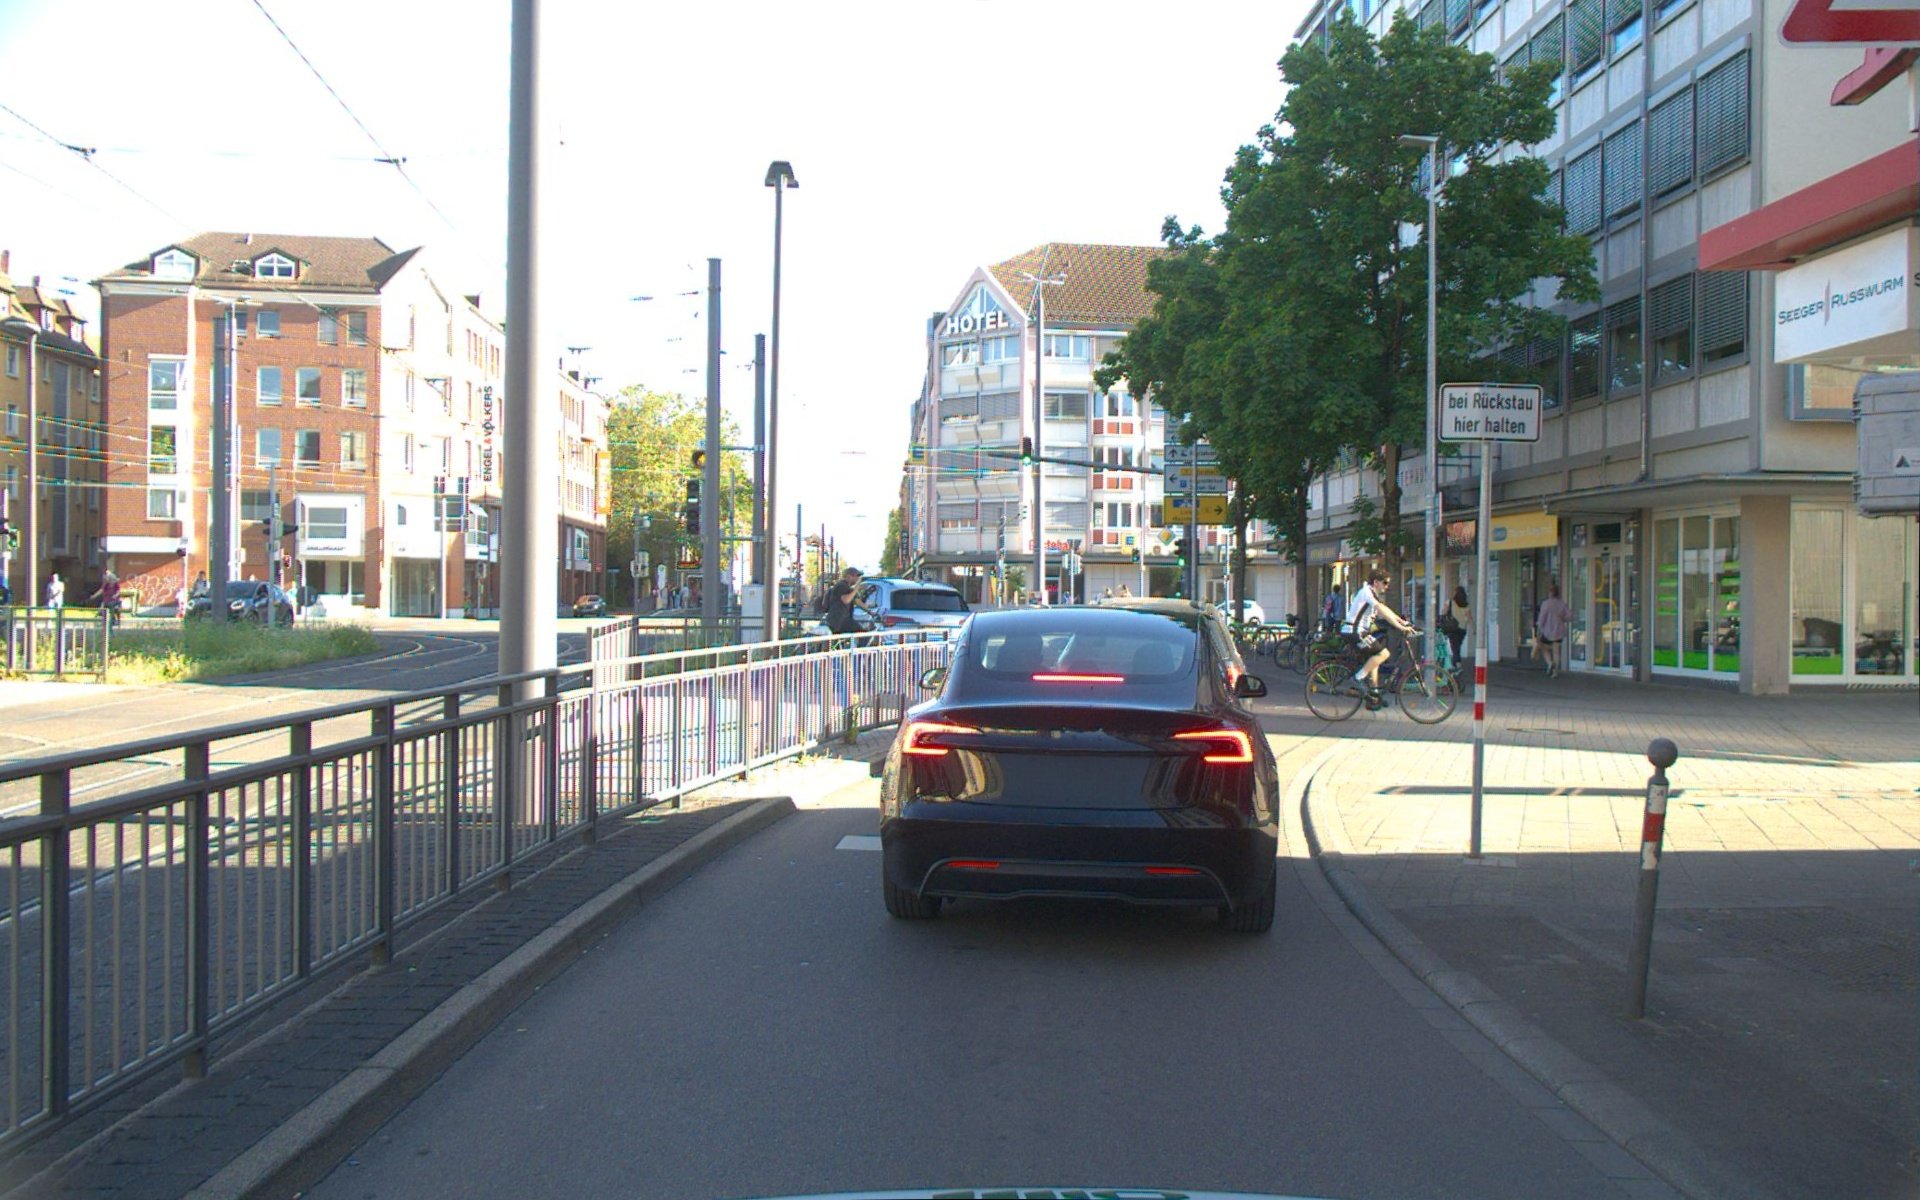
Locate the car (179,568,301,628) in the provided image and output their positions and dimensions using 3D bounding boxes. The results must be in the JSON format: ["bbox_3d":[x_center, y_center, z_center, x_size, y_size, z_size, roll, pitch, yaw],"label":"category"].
[{"bbox_3d":[-20.218,-0.036,46.597,1.650,1.588,4.121,1,0,-1],"label":"car"}]

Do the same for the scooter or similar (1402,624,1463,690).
[{"bbox_3d":[7.716,0.926,26.998,0.943,1.061,0.160,0,0,2],"label":"scooter or similar"}]

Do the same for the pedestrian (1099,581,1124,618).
[{"bbox_3d":[6.609,-0.033,72.225,0.766,1.604,0.864,1,1,-16],"label":"pedestrian"}]

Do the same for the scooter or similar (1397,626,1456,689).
[{"bbox_3d":[7.726,0.950,27.397,0.943,1.045,0.160,0,0,2],"label":"scooter or similar"}]

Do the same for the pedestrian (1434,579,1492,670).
[{"bbox_3d":[9.774,0.470,32.160,0.826,1.737,0.880,1,-1,-1],"label":"pedestrian"}]

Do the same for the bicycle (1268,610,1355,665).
[{"bbox_3d":[7.528,0.792,35.406,1.774,1.172,0.435,0,0,-5],"label":"bicycle"}]

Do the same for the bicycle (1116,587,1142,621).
[{"bbox_3d":[7.398,0.161,72.449,0.573,1.489,1.679,0,0,-16],"label":"bicycle"}]

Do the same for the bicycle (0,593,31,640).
[{"bbox_3d":[-21.389,0.361,36.614,0.519,1.031,1.897,1,0,1],"label":"bicycle"}]

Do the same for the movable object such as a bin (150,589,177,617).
[{"bbox_3d":[-41.501,0.154,86.185,0.978,1.462,1.093,1,0,-10],"label":"movable object such as a bin"}]

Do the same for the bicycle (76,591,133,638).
[{"bbox_3d":[-23.021,0.396,44.540,0.519,1.235,1.885,1,0,1],"label":"bicycle"}]

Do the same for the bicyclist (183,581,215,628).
[{"bbox_3d":[-24.217,0.144,52.665,0.650,1.479,0.730,1,-1,0],"label":"bicyclist"}]

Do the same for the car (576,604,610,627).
[{"bbox_3d":[-24.800,1.057,111.883,1.782,1.479,3.972,-1,0,-7],"label":"car"}]

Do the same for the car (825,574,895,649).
[{"bbox_3d":[-2.326,0.273,38.810,1.541,1.646,3.781,1,0,-3],"label":"car"}]

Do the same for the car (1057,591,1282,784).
[{"bbox_3d":[1.794,0.672,15.206,1.727,1.469,4.531,1,0,4],"label":"car"}]

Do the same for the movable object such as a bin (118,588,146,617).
[{"bbox_3d":[-42.964,0.125,85.840,0.978,1.462,1.093,1,0,-10],"label":"movable object such as a bin"}]

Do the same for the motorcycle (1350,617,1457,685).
[{"bbox_3d":[7.838,0.898,29.281,1.751,1.149,0.504,1,-1,-3],"label":"motorcycle"}]

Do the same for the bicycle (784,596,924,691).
[{"bbox_3d":[-1.417,0.584,22.263,1.802,1.233,0.635,1,-1,-32],"label":"bicycle"}]

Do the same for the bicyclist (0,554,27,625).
[{"bbox_3d":[-23.240,-0.253,40.338,0.510,1.702,0.770,1,-1,0],"label":"bicyclist"}]

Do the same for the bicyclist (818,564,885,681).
[{"bbox_3d":[-1.462,0.302,22.236,0.674,1.550,0.628,1,-1,-32],"label":"bicyclist"}]

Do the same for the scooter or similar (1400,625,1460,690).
[{"bbox_3d":[7.721,0.939,27.196,0.936,1.057,0.160,0,0,2],"label":"scooter or similar"}]

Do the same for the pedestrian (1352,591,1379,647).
[{"bbox_3d":[10.655,0.502,43.507,0.631,1.447,0.621,1,-1,10],"label":"pedestrian"}]

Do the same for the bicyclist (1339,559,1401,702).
[{"bbox_3d":[4.867,0.357,19.631,0.666,1.659,0.579,1,-1,16],"label":"bicyclist"}]

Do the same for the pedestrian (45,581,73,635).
[{"bbox_3d":[-29.541,0.255,54.230,0.613,1.717,0.703,1,1,-13],"label":"pedestrian"}]

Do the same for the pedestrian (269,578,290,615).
[{"bbox_3d":[-32.427,-0.170,78.814,0.682,1.740,0.929,1,-1,-7],"label":"pedestrian"}]

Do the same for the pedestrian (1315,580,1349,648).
[{"bbox_3d":[9.851,0.366,43.801,0.825,1.751,0.881,1,-1,11],"label":"pedestrian"}]

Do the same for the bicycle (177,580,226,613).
[{"bbox_3d":[-24.199,-0.112,52.797,0.636,1.031,1.885,1,0,1],"label":"bicycle"}]

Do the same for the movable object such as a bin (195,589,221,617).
[{"bbox_3d":[-39.261,0.163,86.387,0.978,1.462,1.093,1,0,-10],"label":"movable object such as a bin"}]

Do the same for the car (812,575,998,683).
[{"bbox_3d":[-0.982,0.457,27.637,1.818,1.663,3.455,1,0,-27],"label":"car"}]

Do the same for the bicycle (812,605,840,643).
[{"bbox_3d":[-4.489,0.801,55.229,0.616,1.245,2.034,1,0,-13],"label":"bicycle"}]

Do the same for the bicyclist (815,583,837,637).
[{"bbox_3d":[-4.473,0.335,55.138,0.602,1.803,0.827,1,-1,-13],"label":"bicyclist"}]

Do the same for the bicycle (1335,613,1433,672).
[{"bbox_3d":[8.060,0.808,31.439,1.817,1.074,0.398,-1,0,-12],"label":"bicycle"}]

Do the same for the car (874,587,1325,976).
[{"bbox_3d":[0.641,0.699,8.495,1.753,1.476,3.941,1,1,3],"label":"car"}]

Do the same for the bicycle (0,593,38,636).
[{"bbox_3d":[-23.247,0.338,40.237,0.519,1.031,1.885,1,0,1],"label":"bicycle"}]

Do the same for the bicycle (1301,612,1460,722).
[{"bbox_3d":[4.979,0.779,19.575,1.782,1.233,0.582,1,-1,17],"label":"bicycle"}]

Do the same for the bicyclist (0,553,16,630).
[{"bbox_3d":[-21.382,-0.186,36.574,0.514,1.702,0.770,1,-1,1],"label":"bicyclist"}]

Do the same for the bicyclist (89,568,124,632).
[{"bbox_3d":[-23.015,0.013,44.595,0.510,1.702,0.770,1,-1,0],"label":"bicyclist"}]

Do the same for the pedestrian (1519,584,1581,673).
[{"bbox_3d":[11.058,0.523,31.011,0.826,1.630,0.880,1,-1,-1],"label":"pedestrian"}]

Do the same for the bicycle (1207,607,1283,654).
[{"bbox_3d":[7.338,0.784,42.549,1.851,1.177,0.480,-1,-1,0],"label":"bicycle"}]

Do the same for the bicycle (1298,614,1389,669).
[{"bbox_3d":[7.735,0.831,33.432,1.730,1.075,0.458,1,-1,4],"label":"bicycle"}]

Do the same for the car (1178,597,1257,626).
[{"bbox_3d":[13.458,0.614,86.654,3.766,1.457,1.801,1,-2,-6],"label":"car"}]

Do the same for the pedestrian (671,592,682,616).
[{"bbox_3d":[-18.655,0.273,108.795,0.574,1.557,0.634,1,-1,-18],"label":"pedestrian"}]
